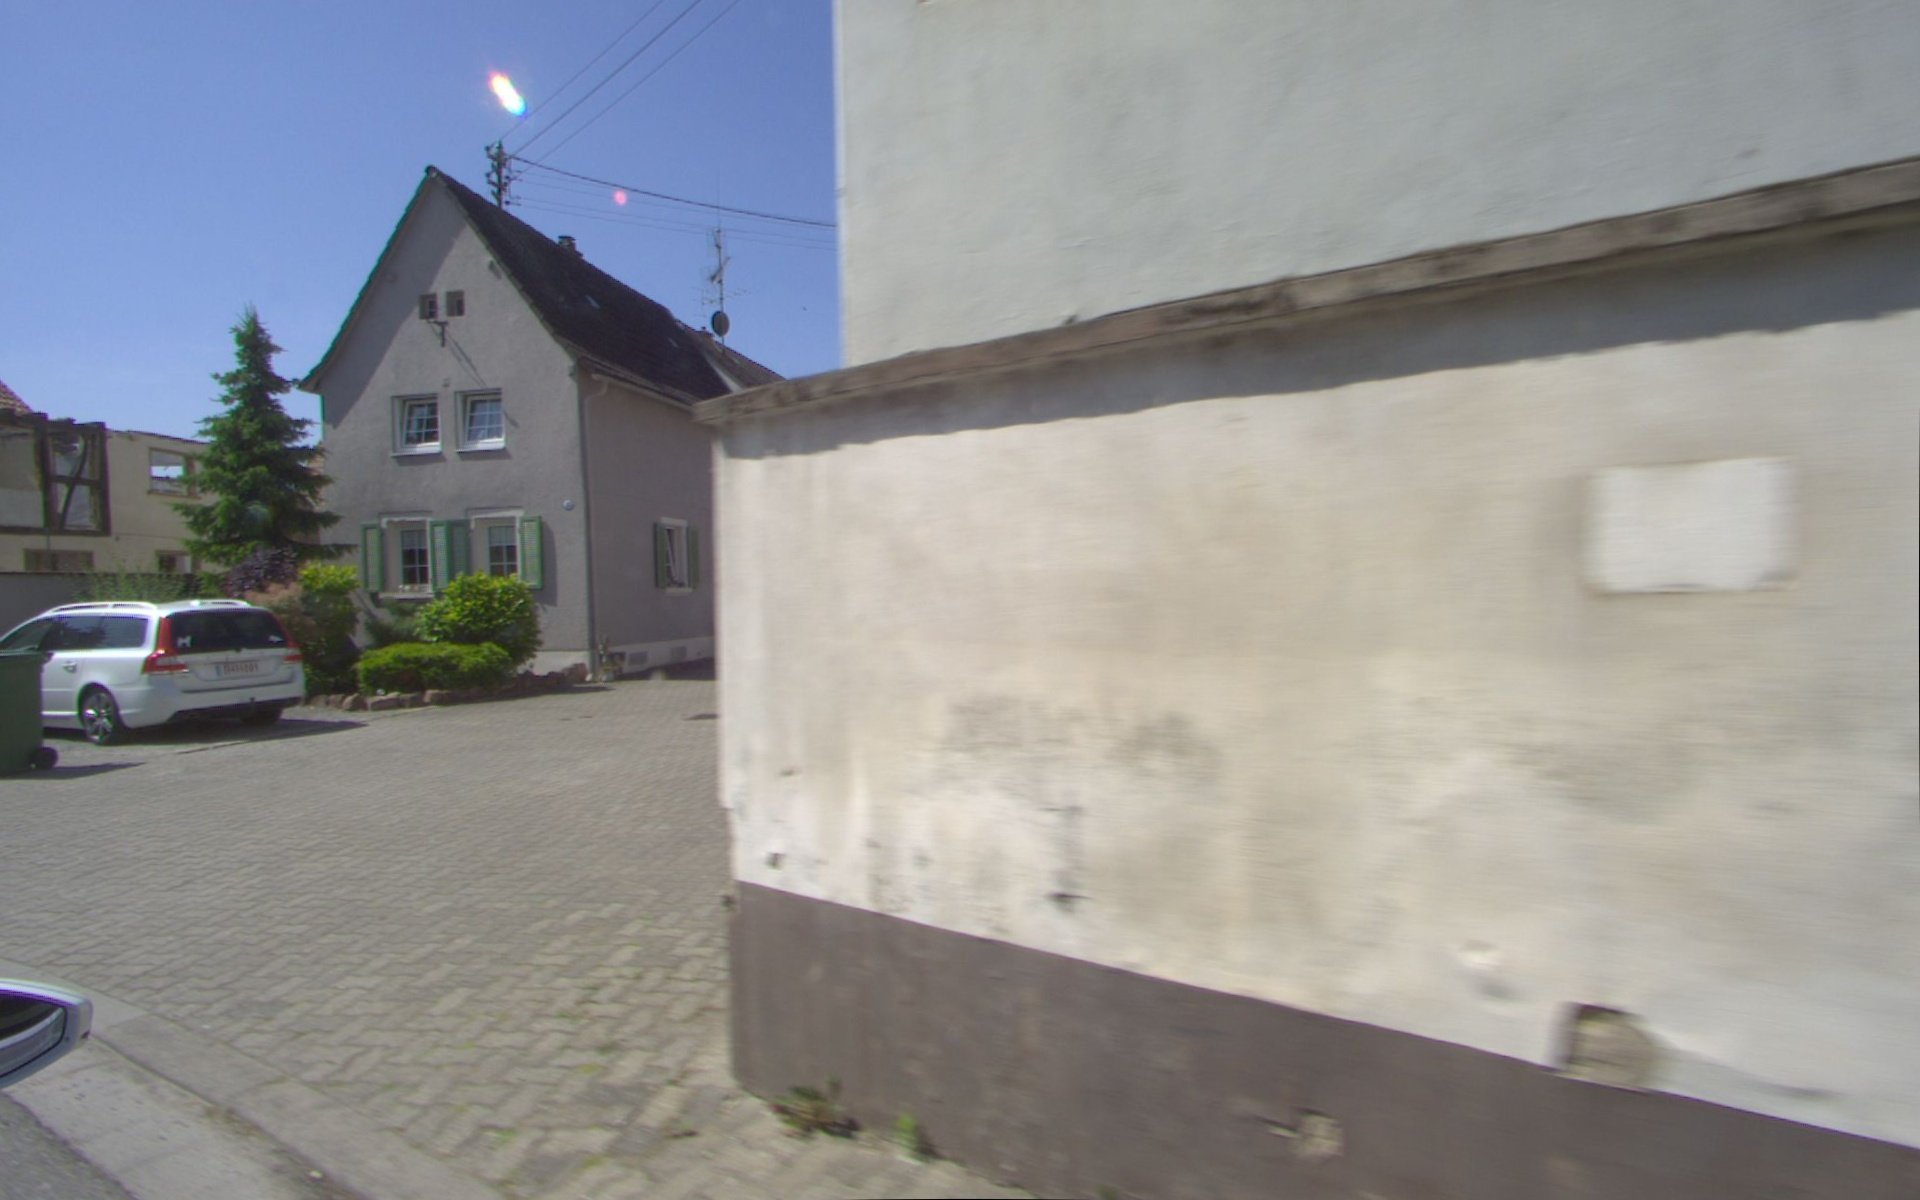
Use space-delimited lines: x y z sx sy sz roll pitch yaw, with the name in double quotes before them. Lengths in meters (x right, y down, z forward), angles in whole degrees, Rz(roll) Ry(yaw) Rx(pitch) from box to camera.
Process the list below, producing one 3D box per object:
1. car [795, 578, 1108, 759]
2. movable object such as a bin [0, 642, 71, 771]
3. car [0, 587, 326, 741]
"car" 0.221 0.537 10.693 1.964 1.471 4.758 -2 1 17
"movable object such as a bin" -8.651 0.945 8.952 0.741 1.096 0.721 -1 1 11
"car" -9.833 0.685 11.813 4.223 1.549 1.811 -1 1 22
